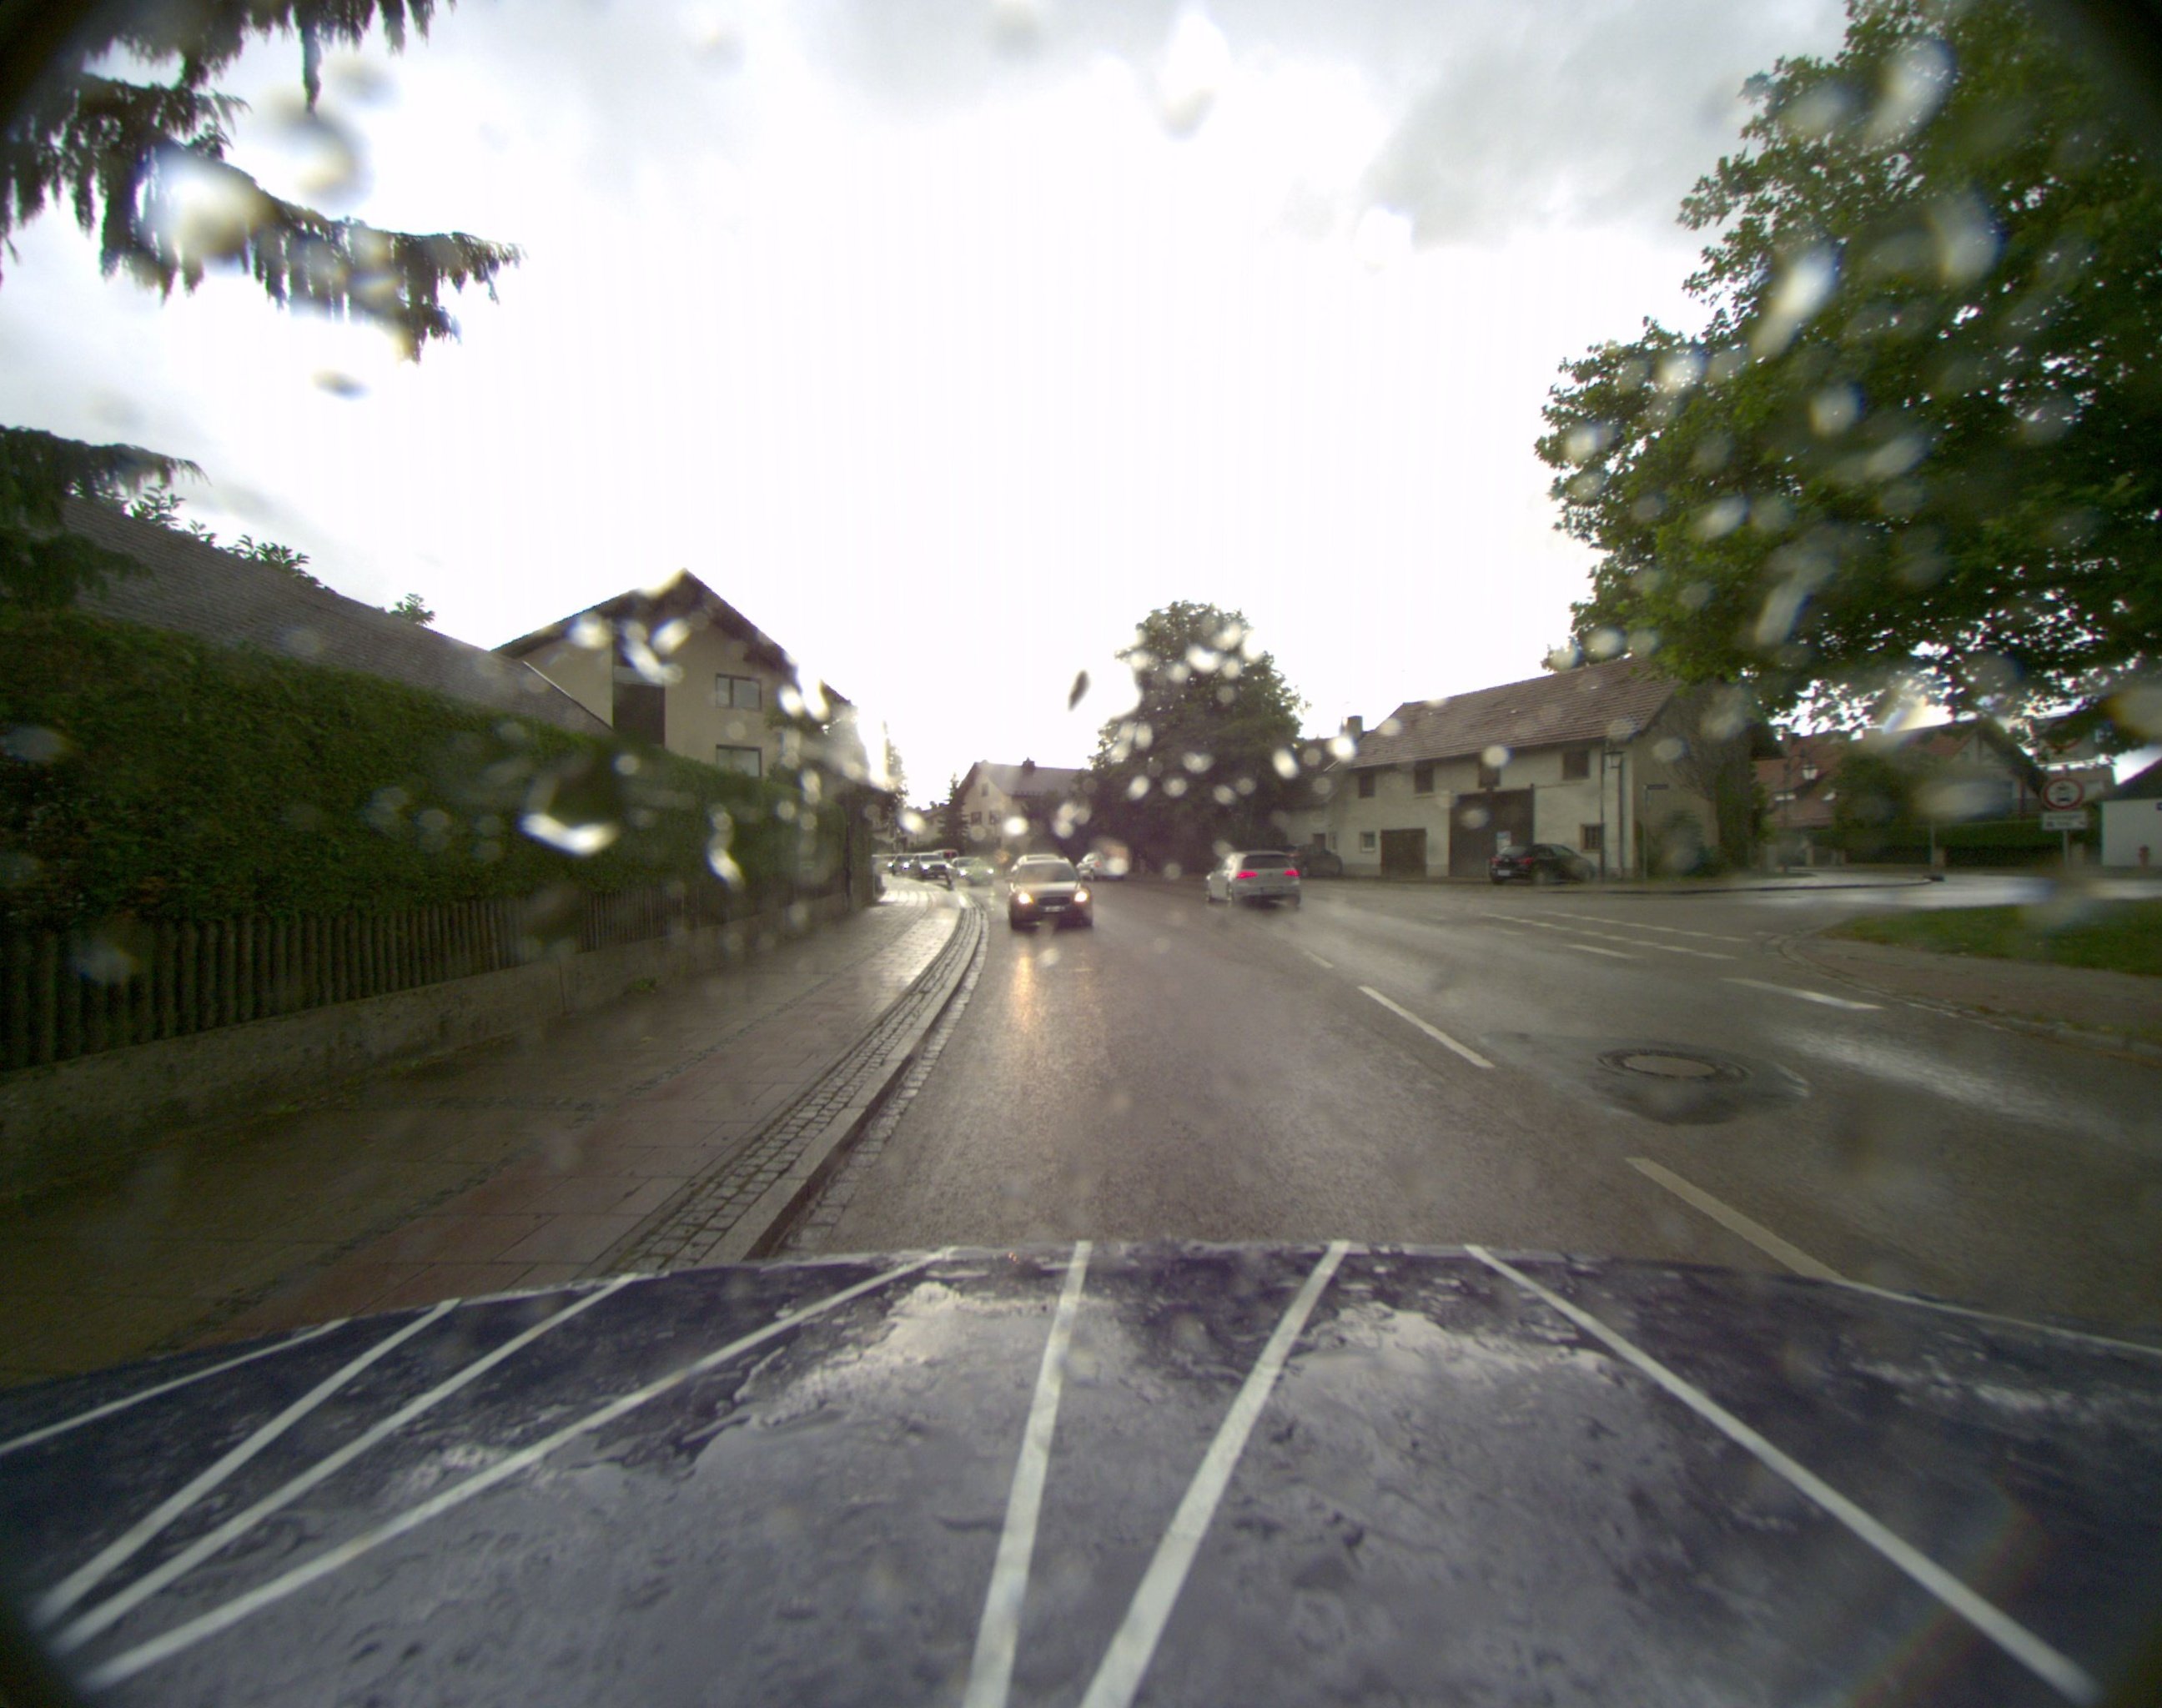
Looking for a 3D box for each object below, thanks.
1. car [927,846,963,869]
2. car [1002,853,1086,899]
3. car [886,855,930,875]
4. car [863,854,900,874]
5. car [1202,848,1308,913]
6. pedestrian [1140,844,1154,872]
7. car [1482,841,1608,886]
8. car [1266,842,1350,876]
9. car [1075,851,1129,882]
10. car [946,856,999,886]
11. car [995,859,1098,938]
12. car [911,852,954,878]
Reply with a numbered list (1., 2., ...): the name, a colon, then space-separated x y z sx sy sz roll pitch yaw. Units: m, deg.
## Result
1. car: -11.234 0.256 62.612 1.648 1.755 4.321 -3 1 -28
2. car: -1.539 0.765 28.991 1.796 1.471 5.377 -3 1 -18
3. car: -12.907 0.801 56.551 1.798 1.365 4.271 -3 1 -32
4. car: -16.890 0.806 64.139 1.798 1.539 4.271 -3 1 -32
5. car: 4.485 0.620 20.179 1.721 1.434 3.998 -3 1 -2
6. pedestrian: 3.856 0.229 44.321 0.652 1.619 0.479 -1 1 18
7. car: 16.336 0.295 26.717 4.287 1.428 1.817 -2 1 -27
8. car: 10.768 0.242 35.850 4.290 1.539 1.812 0 0 -42
9. car: 1.034 0.611 39.520 1.624 1.436 3.664 -2 1 -18
10. car: -5.739 0.828 39.700 1.797 1.387 4.273 -3 1 -21
11. car: -0.913 0.899 17.310 1.795 1.387 4.277 -3 1 -9
12. car: -9.748 0.696 49.601 1.797 1.539 4.272 -3 1 -23
